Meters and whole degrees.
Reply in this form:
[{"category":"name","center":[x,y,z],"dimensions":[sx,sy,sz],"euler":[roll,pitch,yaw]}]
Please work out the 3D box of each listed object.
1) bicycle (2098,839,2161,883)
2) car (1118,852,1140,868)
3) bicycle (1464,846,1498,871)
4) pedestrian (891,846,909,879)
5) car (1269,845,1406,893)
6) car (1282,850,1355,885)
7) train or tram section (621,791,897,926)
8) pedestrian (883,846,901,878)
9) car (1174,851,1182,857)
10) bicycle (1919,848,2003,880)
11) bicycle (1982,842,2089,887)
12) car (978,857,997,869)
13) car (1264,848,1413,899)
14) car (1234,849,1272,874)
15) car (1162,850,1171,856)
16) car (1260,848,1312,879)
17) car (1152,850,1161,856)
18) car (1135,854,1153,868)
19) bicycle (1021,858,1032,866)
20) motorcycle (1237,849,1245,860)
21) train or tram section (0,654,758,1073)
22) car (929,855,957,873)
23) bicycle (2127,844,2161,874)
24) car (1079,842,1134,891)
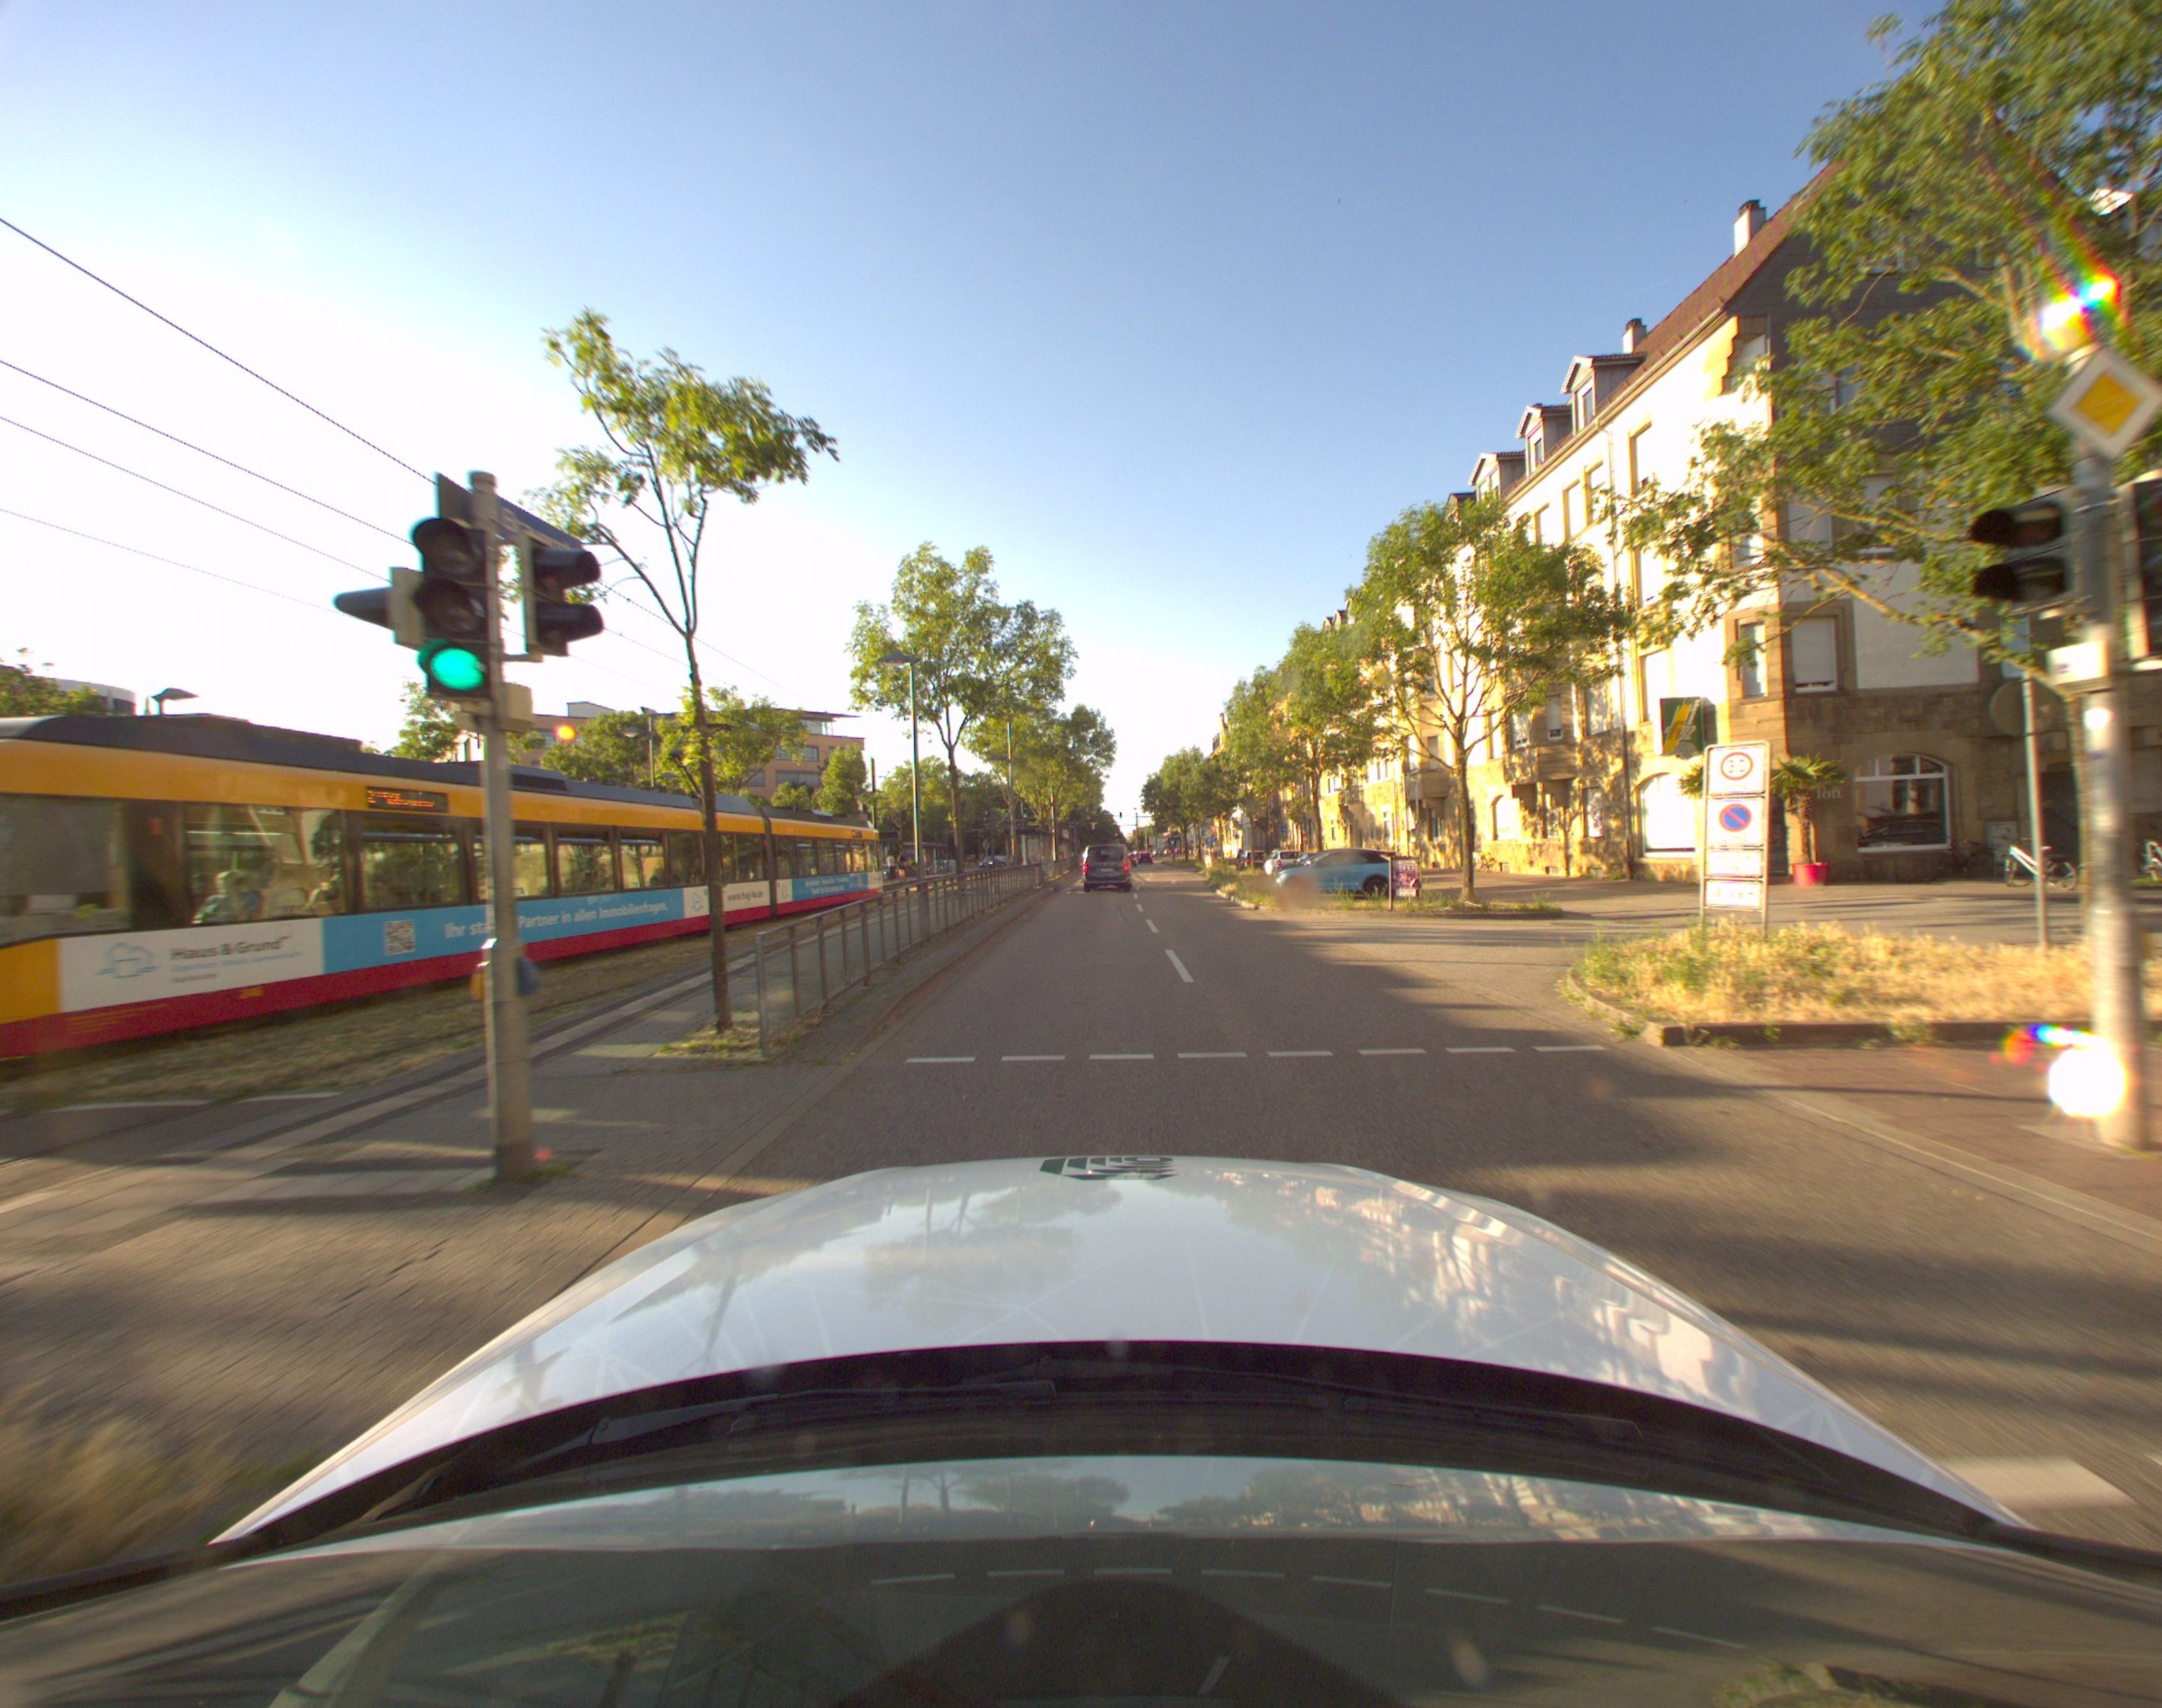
[{"category":"bicycle","center":[24.093,0.154,18.109],"dimensions":[0.626,0.947,1.885],"euler":[-2,1,2]},{"category":"car","center":[4.875,0.584,83.625],"dimensions":[1.988,1.510,3.998],"euler":[-1,0,-1]},{"category":"bicycle","center":[17.740,0.198,36.128],"dimensions":[0.570,1.073,1.897],"euler":[-3,0,2]},{"category":"pedestrian","center":[-11.485,0.529,51.658],"dimensions":[0.766,2.013,1.128],"euler":[-2,0,4]},{"category":"car","center":[9.112,0.496,29.035],"dimensions":[4.286,1.571,2.014],"euler":[0,1,31]},{"category":"car","center":[10.559,0.576,36.583],"dimensions":[1.938,1.445,4.910],"euler":[0,0,1]},{"category":"train or tram section","center":[-9.840,0.137,27.835],"dimensions":[3.418,3.339,13.863],"euler":[-2,0,2]},{"category":"pedestrian","center":[-12.208,0.501,52.669],"dimensions":[0.766,2.013,1.128],"euler":[-2,0,4]},{"category":"car","center":[27.309,-0.101,230.316],"dimensions":[1.985,1.656,4.303],"euler":[-2,0,3]},{"category":"bicycle","center":[22.369,0.252,20.718],"dimensions":[1.536,0.735,0.531],"euler":[-2,0,1]},{"category":"bicycle","center":[21.431,0.218,18.338],"dimensions":[0.623,0.947,1.893],"euler":[-2,1,16]},{"category":"car","center":[-11.821,1.108,103.484],"dimensions":[1.788,1.415,4.342],"euler":[-1,0,1]},{"category":"car","center":[8.390,0.633,26.649],"dimensions":[4.232,1.522,1.859],"euler":[-2,0,34]},{"category":"car","center":[10.838,0.455,51.584],"dimensions":[1.697,1.448,4.291],"euler":[1,0,2]},{"category":"car","center":[24.375,-0.250,232.718],"dimensions":[1.987,1.656,4.297],"euler":[-2,0,-1]},{"category":"car","center":[10.528,0.476,42.119],"dimensions":[1.719,1.512,4.273],"euler":[1,0,1]},{"category":"car","center":[21.691,-0.407,234.714],"dimensions":[1.987,1.656,4.297],"euler":[-2,0,-1]},{"category":"car","center":[7.514,0.830,97.526],"dimensions":[1.986,1.510,4.001],"euler":[-1,0,2]},{"category":"bicycle","center":[-9.277,1.359,138.855],"dimensions":[1.731,1.142,0.552],"euler":[-2,0,-40]},{"category":"motorcycle","center":[19.138,0.054,97.255],"dimensions":[0.552,1.214,2.072],"euler":[-1,0,0]},{"category":"train or tram section","center":[-10.325,0.152,13.469],"dimensions":[3.418,3.430,15.033],"euler":[-2,0,2]},{"category":"car","center":[-13.427,0.984,79.394],"dimensions":[1.852,1.654,4.002],"euler":[-2,0,2]},{"category":"bicycle","center":[27.722,0.108,20.707],"dimensions":[1.536,0.735,0.531],"euler":[-2,0,1]},{"category":"car","center":[1.130,0.480,33.582],"dimensions":[1.984,1.900,4.305],"euler":[0,0,5]}]
